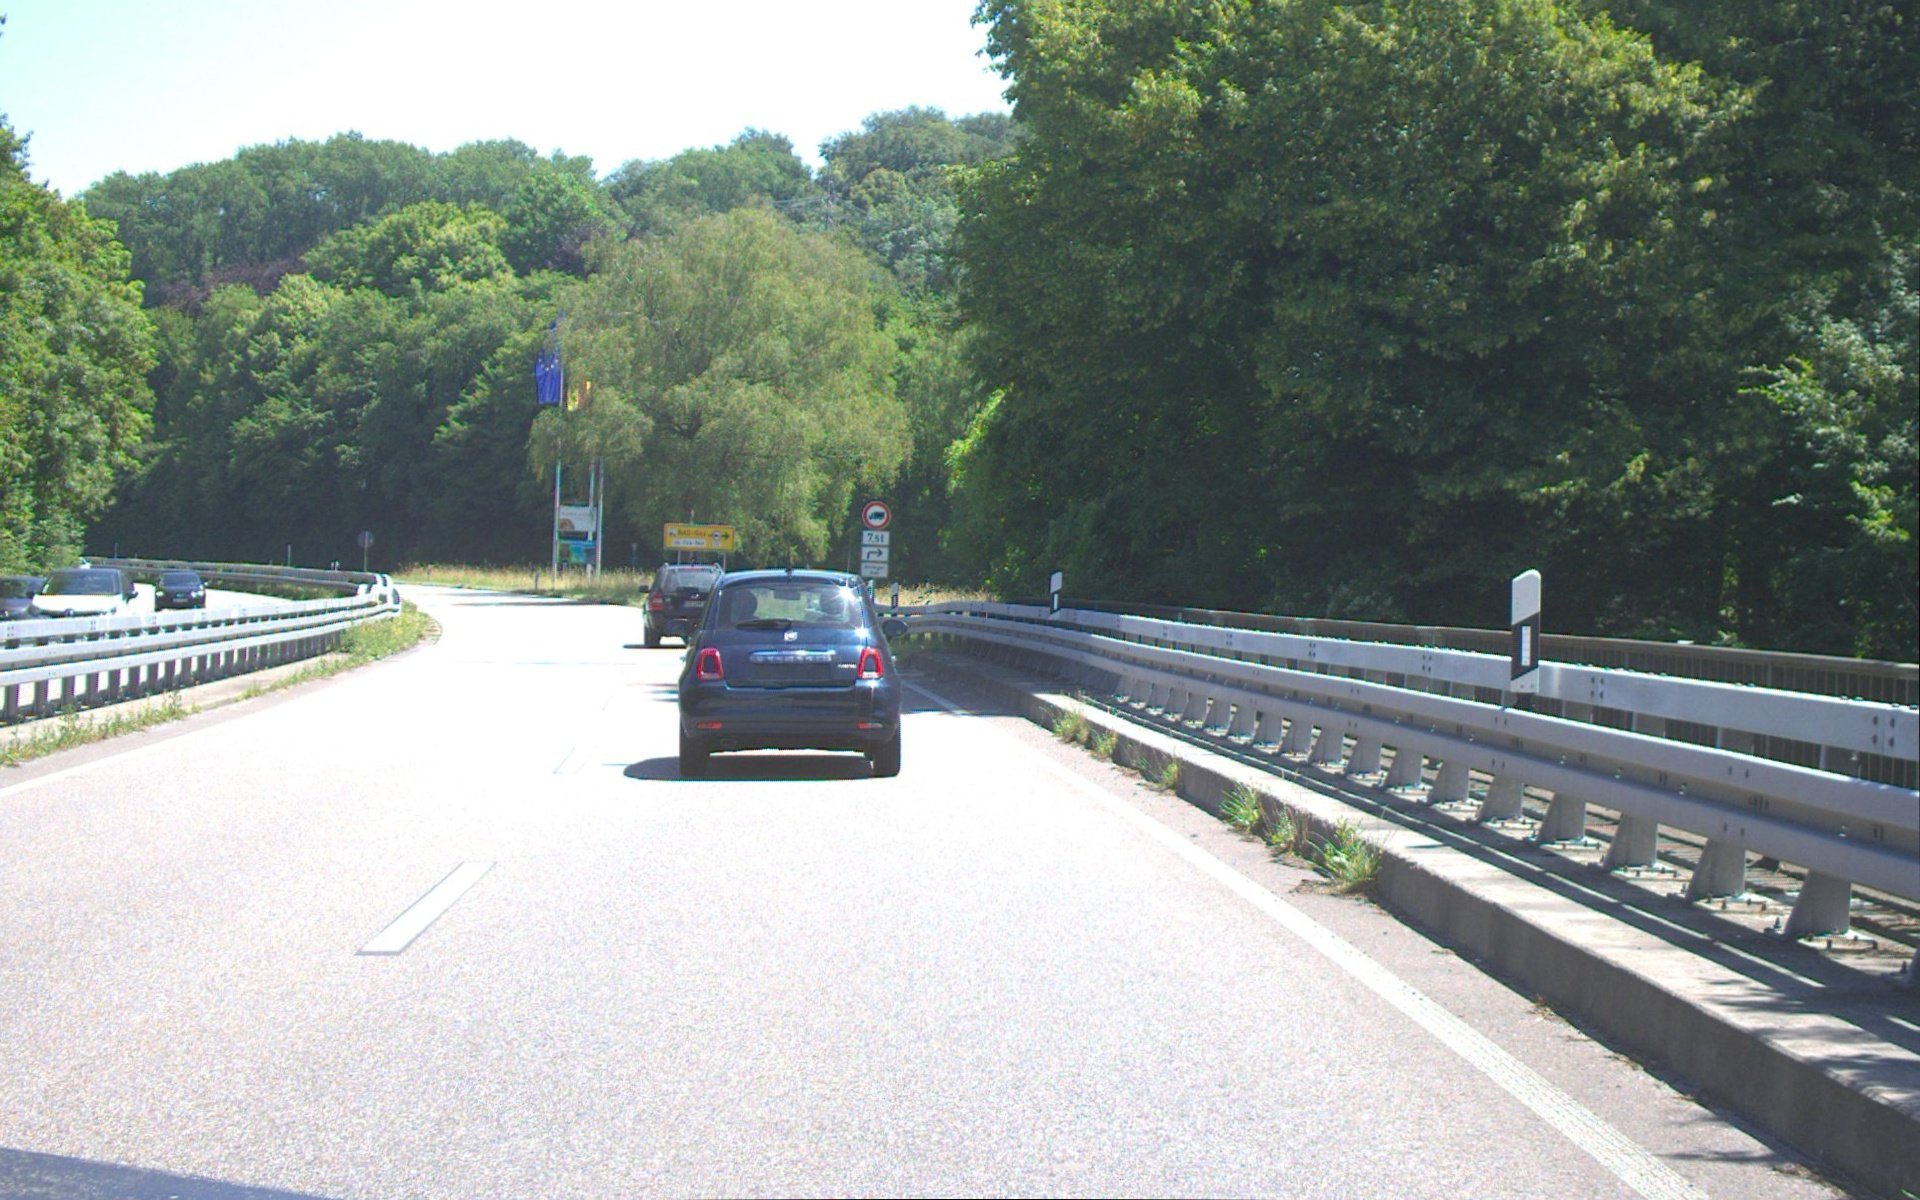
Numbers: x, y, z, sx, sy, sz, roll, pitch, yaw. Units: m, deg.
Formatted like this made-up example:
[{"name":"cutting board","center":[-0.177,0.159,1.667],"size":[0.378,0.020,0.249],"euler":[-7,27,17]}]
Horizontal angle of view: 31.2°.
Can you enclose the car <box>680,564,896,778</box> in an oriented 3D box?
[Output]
[{"name":"car","center":[-1.301,0.480,25.971],"size":[1.513,1.496,3.590],"euler":[0,1,-3]}]

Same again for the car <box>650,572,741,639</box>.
[{"name":"car","center":[-5.401,0.103,69.906],"size":[1.525,1.309,3.416],"euler":[0,1,-10]}]

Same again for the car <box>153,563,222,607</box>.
[{"name":"car","center":[-27.762,-0.546,123.612],"size":[1.755,1.523,4.685],"euler":[0,1,-5]}]

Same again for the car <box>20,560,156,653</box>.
[{"name":"car","center":[-15.488,0.086,61.237],"size":[1.651,1.601,4.220],"euler":[0,1,-5]}]

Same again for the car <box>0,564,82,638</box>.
[{"name":"car","center":[-19.905,-0.007,73.296],"size":[1.651,1.523,3.999],"euler":[0,1,-5]}]
